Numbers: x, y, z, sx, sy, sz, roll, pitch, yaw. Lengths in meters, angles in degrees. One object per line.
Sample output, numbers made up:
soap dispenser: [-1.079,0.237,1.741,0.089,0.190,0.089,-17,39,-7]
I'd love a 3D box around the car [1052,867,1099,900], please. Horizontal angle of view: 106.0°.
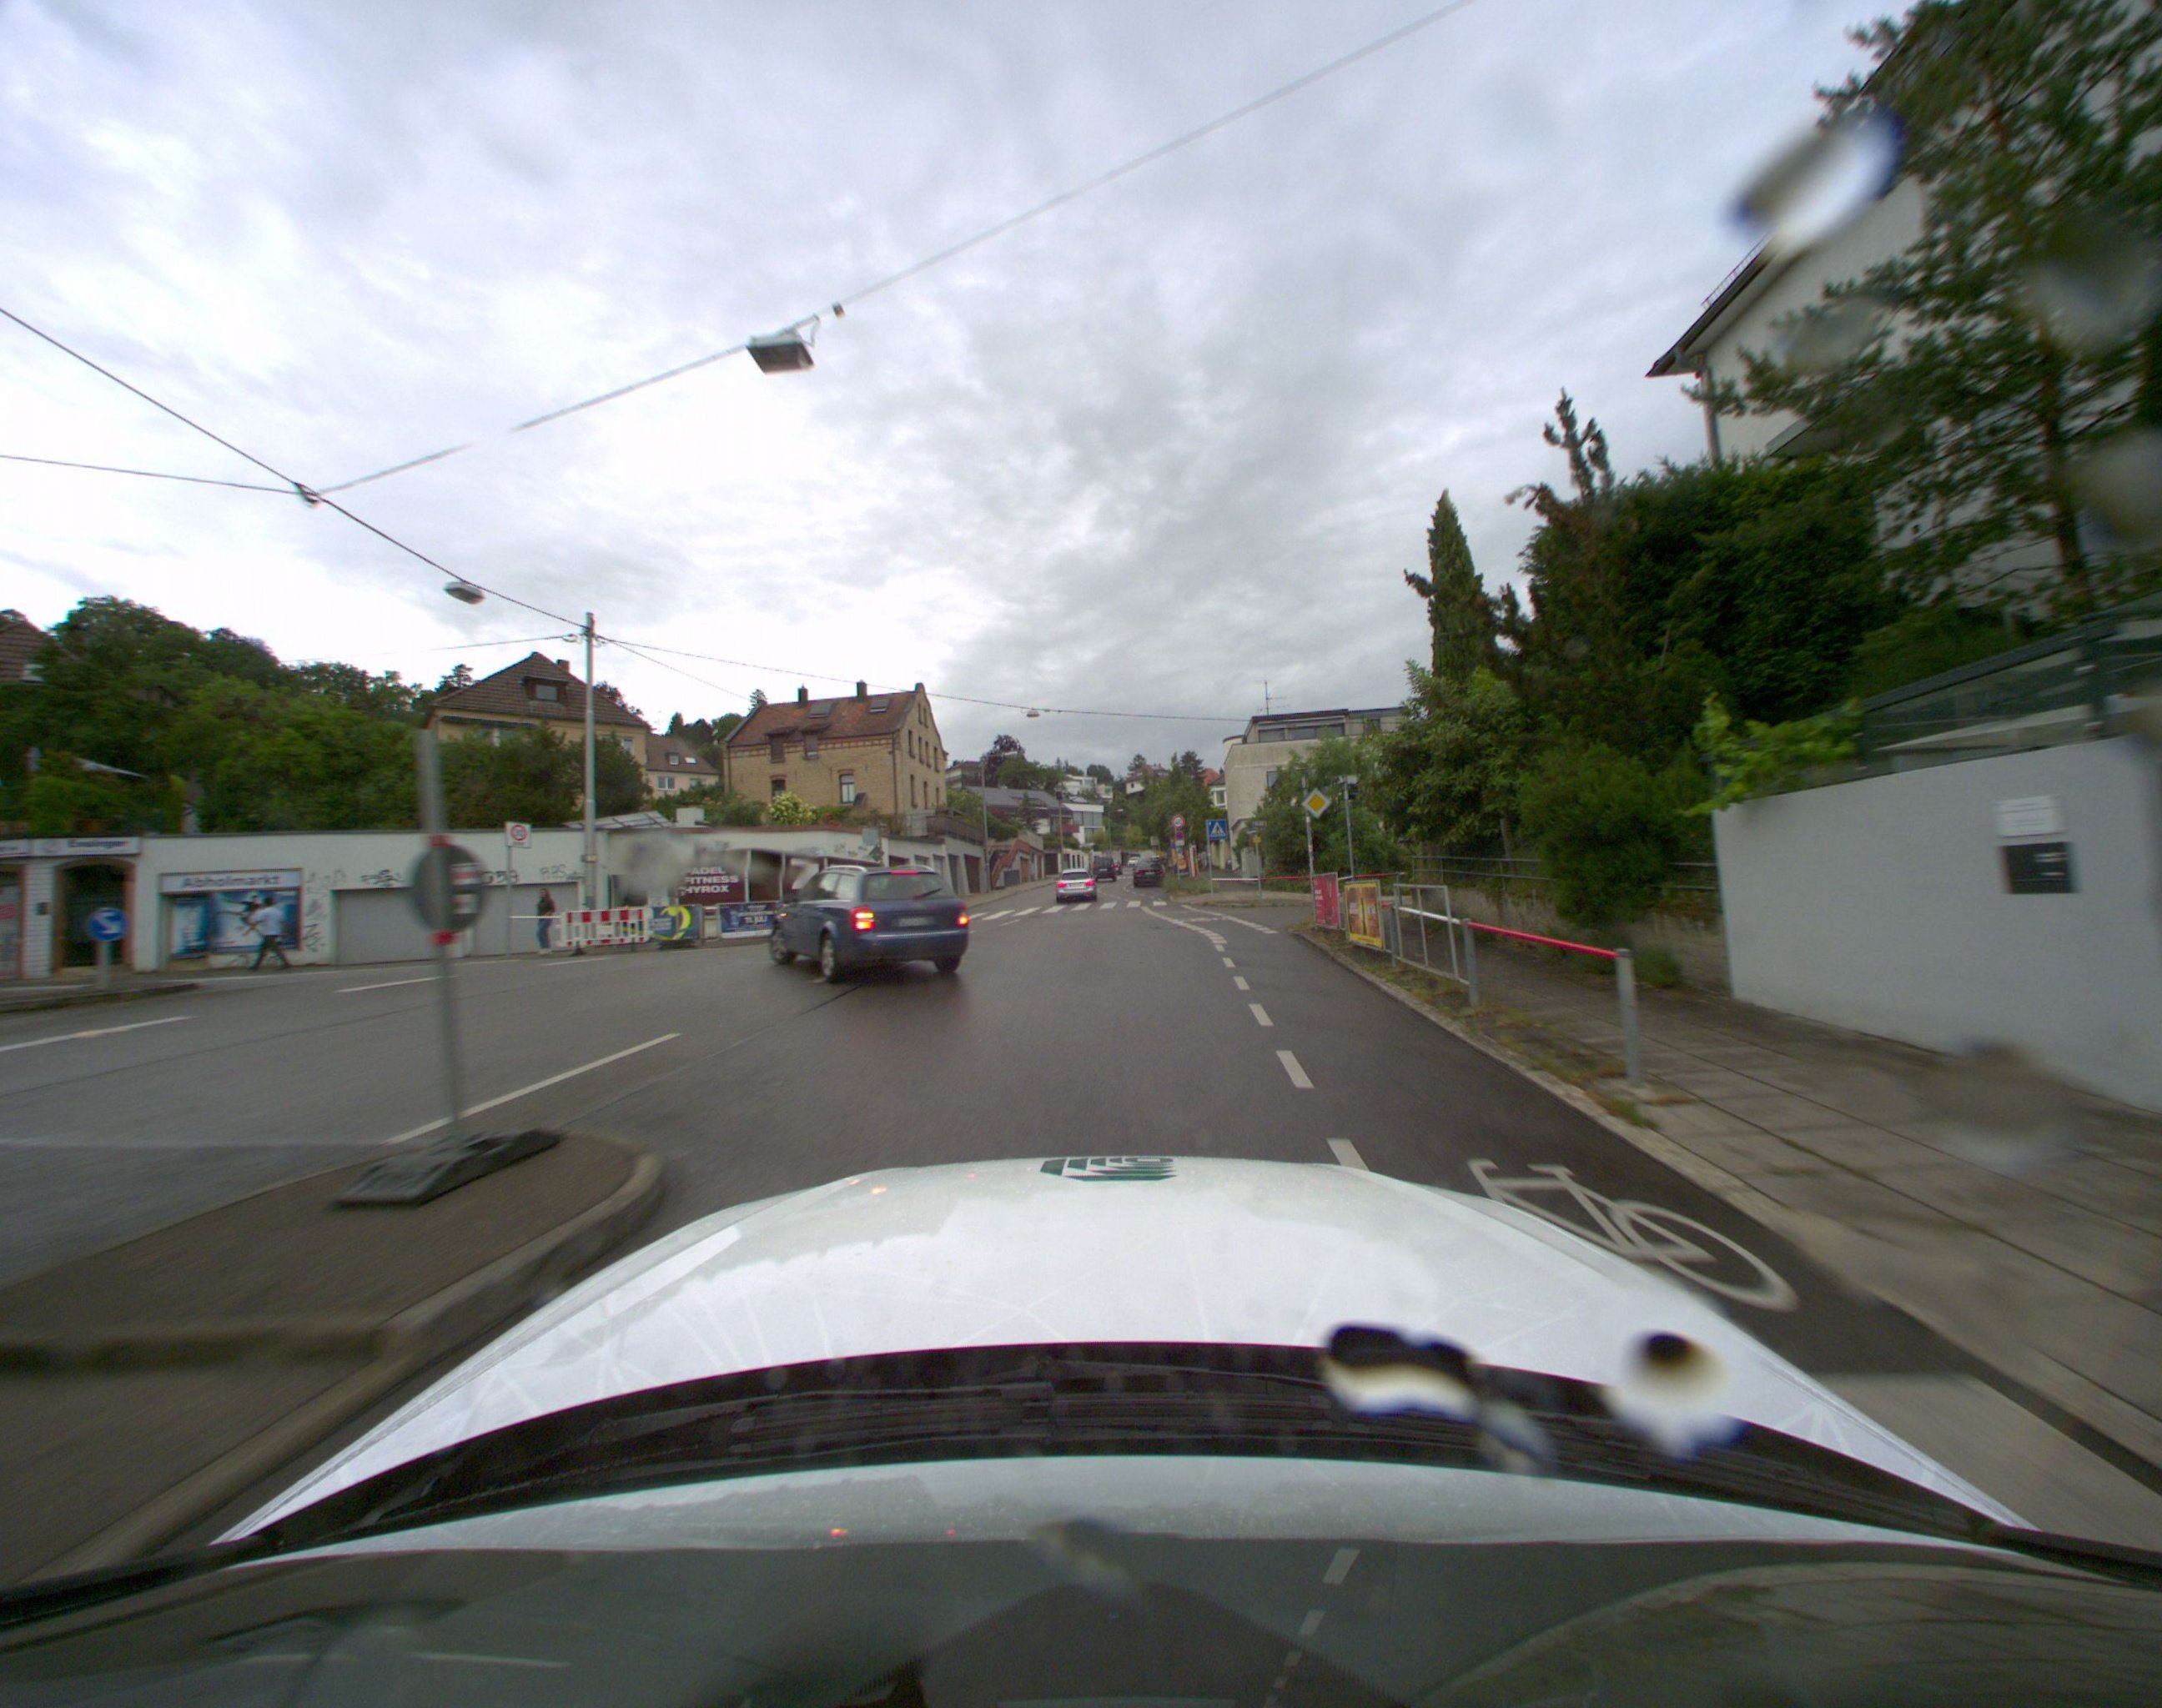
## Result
car: [-0.318,1.331,36.515,1.808,1.361,3.992,-1,-3,-5]

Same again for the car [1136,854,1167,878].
car: [4.585,0.800,53.577,1.709,1.450,3.834,-3,0,1]

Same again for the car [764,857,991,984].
car: [-3.018,0.850,11.451,1.824,1.440,4.037,2,-3,-34]

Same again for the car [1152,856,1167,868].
car: [9.061,0.884,93.925,1.460,1.254,3.591,-3,0,9]

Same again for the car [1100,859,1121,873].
car: [2.885,1.135,79.335,1.816,1.296,4.005,-3,0,4]

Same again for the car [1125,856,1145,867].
car: [8.459,1.236,126.732,1.712,1.606,3.570,-2,-1,27]

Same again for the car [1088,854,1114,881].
car: [1.433,0.954,59.848,1.818,1.819,4.000,-3,0,0]

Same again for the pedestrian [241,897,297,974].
pedestrian: [-19.835,1.965,19.908,0.707,1.806,0.803,-1,-2,-22]

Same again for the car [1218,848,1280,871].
car: [11.730,0.365,56.687,3.954,1.415,1.734,-3,-1,19]

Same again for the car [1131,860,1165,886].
car: [3.912,1.106,48.351,1.764,1.377,4.350,-3,0,2]

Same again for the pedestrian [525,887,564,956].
pedestrian: [-13.531,1.702,20.551,0.618,1.689,0.588,-6,-2,40]

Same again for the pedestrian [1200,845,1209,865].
pedestrian: [11.216,0.109,73.795,0.636,1.795,0.745,-3,-1,2]
